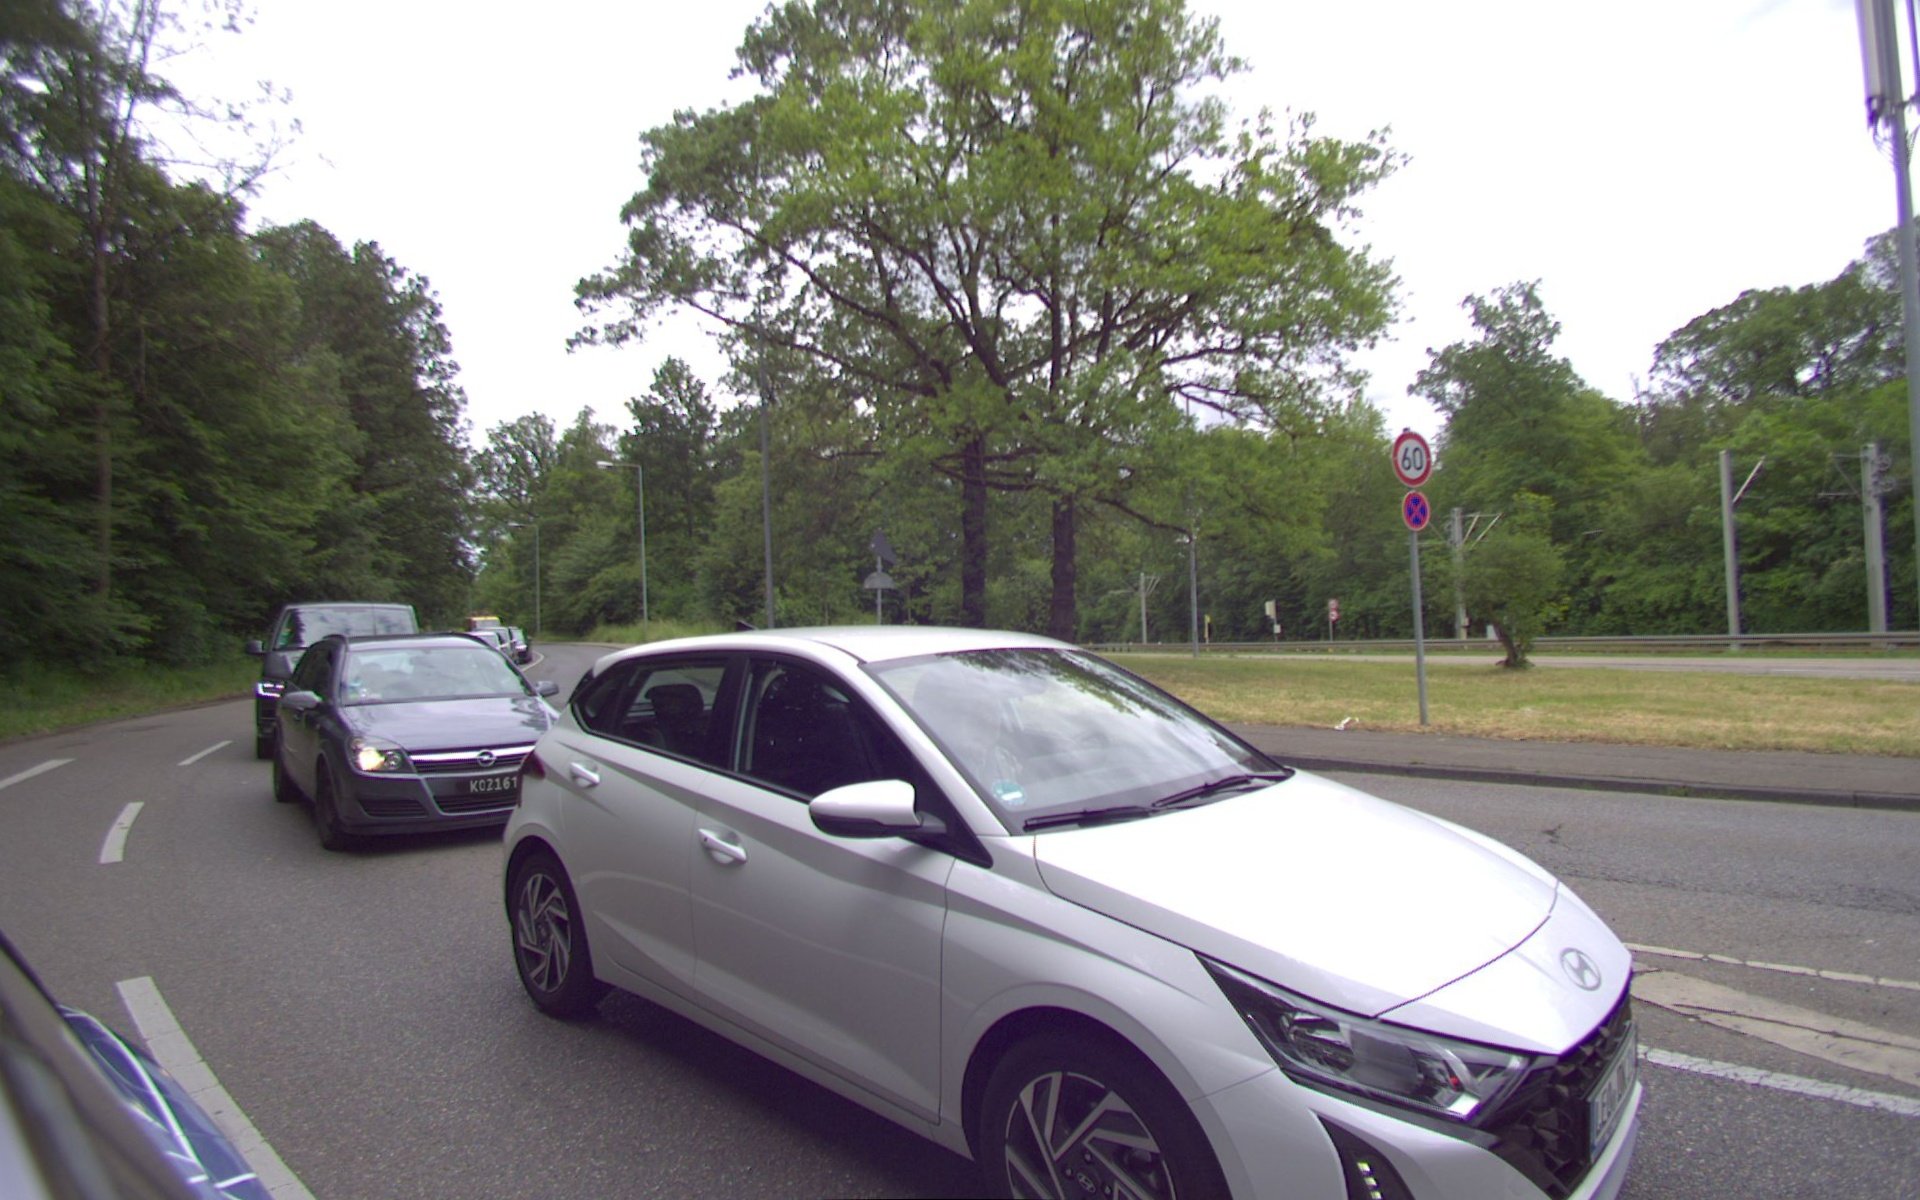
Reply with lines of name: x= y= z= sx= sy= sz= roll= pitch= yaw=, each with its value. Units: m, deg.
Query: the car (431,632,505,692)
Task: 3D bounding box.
car: x=-13.721 y=1.679 z=28.354 sx=1.748 sy=1.511 sz=3.885 roll=0 pitch=-2 yaw=-25

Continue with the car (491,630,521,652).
car: x=-31.823 y=2.862 z=70.988 sx=1.749 sy=1.511 sz=3.885 roll=-1 pitch=-2 yaw=-22

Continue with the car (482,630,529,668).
car: x=-19.383 y=2.070 z=43.140 sx=1.748 sy=1.511 sz=3.885 roll=0 pitch=-2 yaw=-25

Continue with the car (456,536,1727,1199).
car: x=-0.069 y=0.730 z=3.428 sx=4.073 sy=1.490 sz=1.631 roll=-3 pitch=-2 yaw=43

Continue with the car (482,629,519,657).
car: x=-25.932 y=2.406 z=57.171 sx=1.749 sy=1.511 sz=3.885 roll=-1 pitch=-2 yaw=-22

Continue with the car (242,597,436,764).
car: x=-8.406 y=0.988 z=13.961 sx=1.957 sy=1.887 sz=4.545 roll=0 pitch=-2 yaw=-29

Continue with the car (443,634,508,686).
car: x=-15.390 y=1.861 z=32.234 sx=1.748 sy=1.511 sz=3.885 roll=0 pitch=-2 yaw=-25

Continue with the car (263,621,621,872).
car: x=-4.519 y=0.975 z=8.413 sx=1.775 sy=1.490 sz=4.478 roll=0 pitch=-2 yaw=-39

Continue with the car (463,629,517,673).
car: x=-17.602 y=1.888 z=37.918 sx=1.748 sy=1.511 sz=3.885 roll=0 pitch=-2 yaw=-25
